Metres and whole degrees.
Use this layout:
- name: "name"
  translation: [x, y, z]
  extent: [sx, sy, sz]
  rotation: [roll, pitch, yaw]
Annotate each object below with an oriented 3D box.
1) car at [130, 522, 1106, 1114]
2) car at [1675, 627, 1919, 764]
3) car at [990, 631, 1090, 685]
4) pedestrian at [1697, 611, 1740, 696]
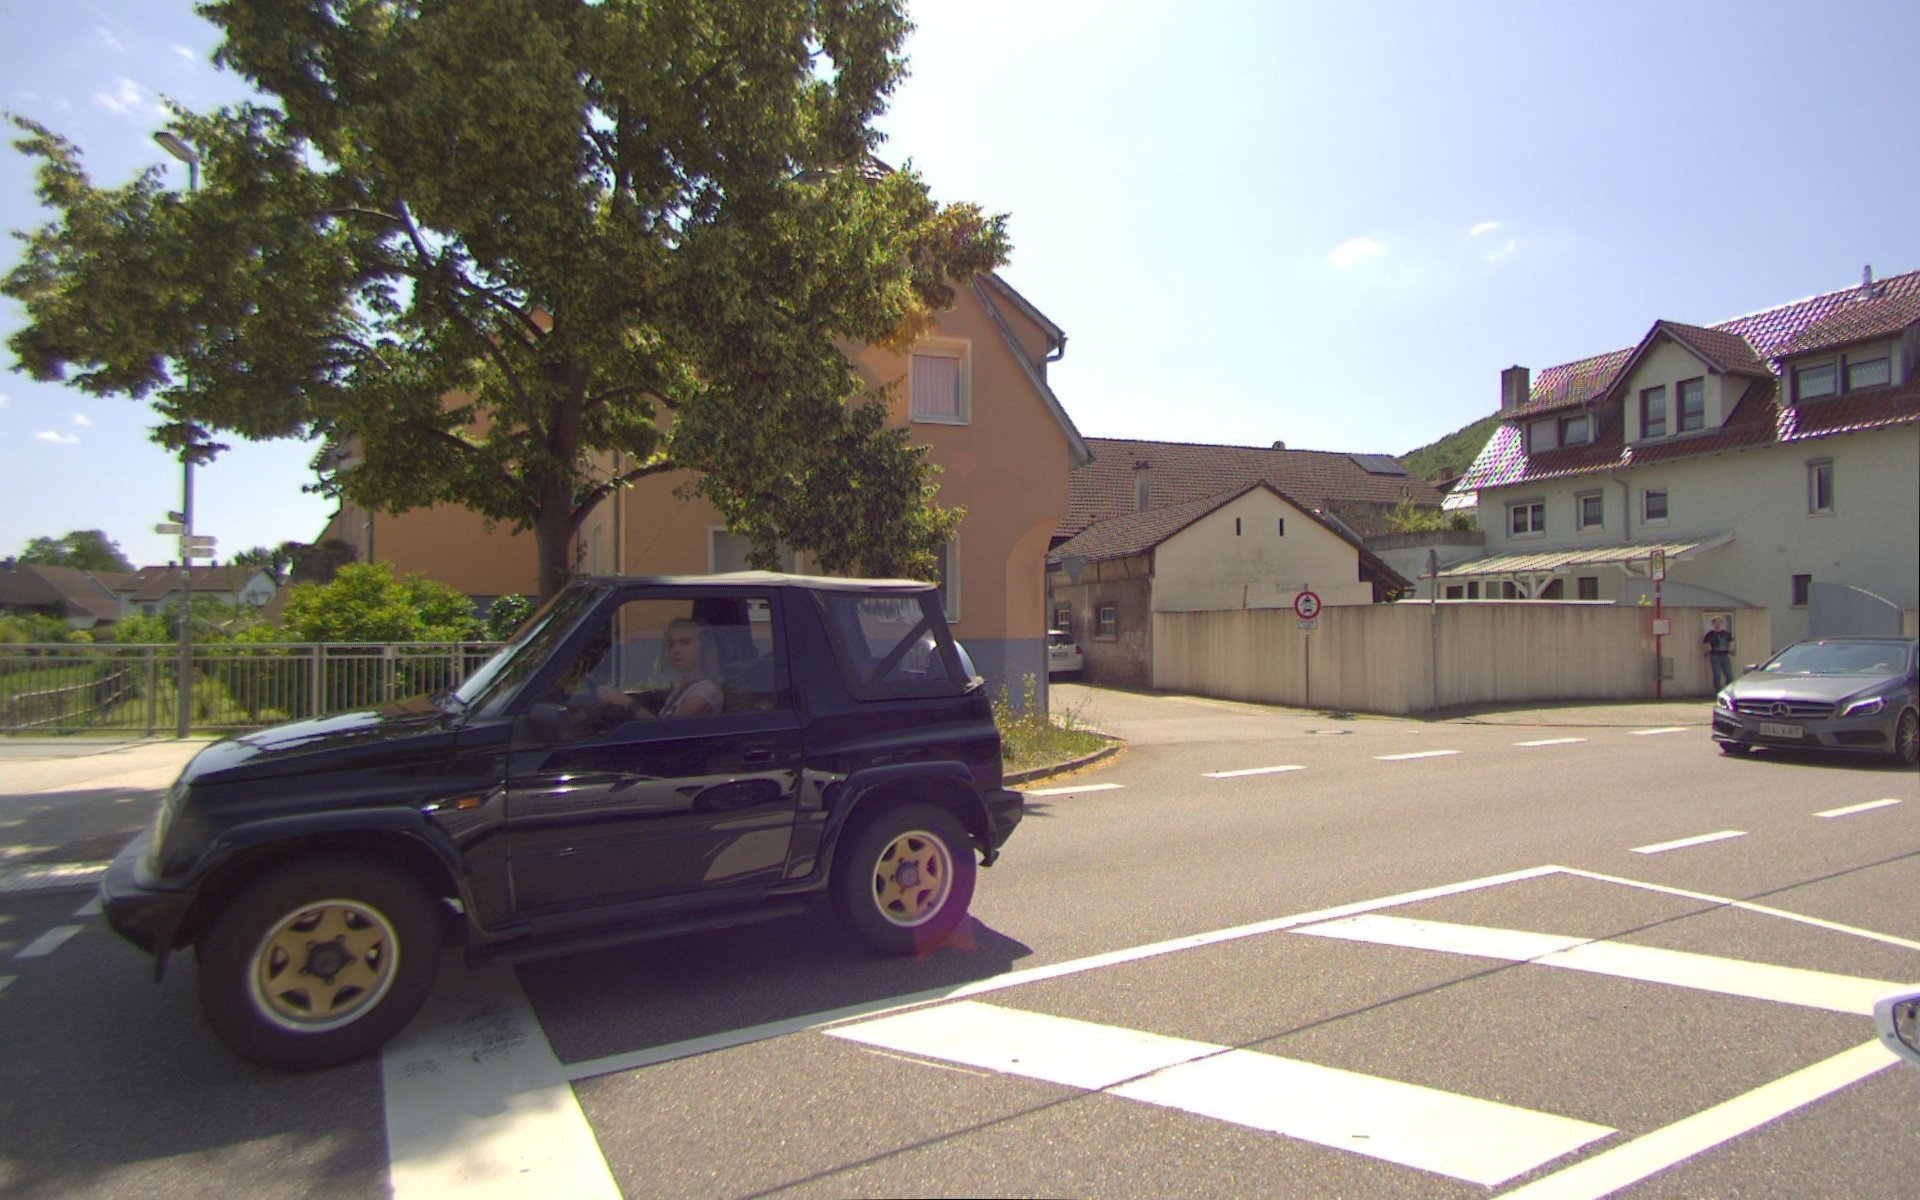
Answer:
- name: "car"
  translation: [-1.276, 0.662, 4.573]
  extent: [3.629, 1.673, 1.729]
  rotation: [1, -2, -33]
- name: "car"
  translation: [11.096, 1.112, 12.535]
  extent: [4.164, 1.461, 1.856]
  rotation: [2, -3, -28]
- name: "car"
  translation: [2.443, 1.773, 31.679]
  extent: [1.780, 1.483, 3.986]
  rotation: [-1, -1, -17]
- name: "pedestrian"
  translation: [16.111, 1.130, 21.331]
  extent: [0.547, 1.788, 0.434]
  rotation: [0, -2, -10]
